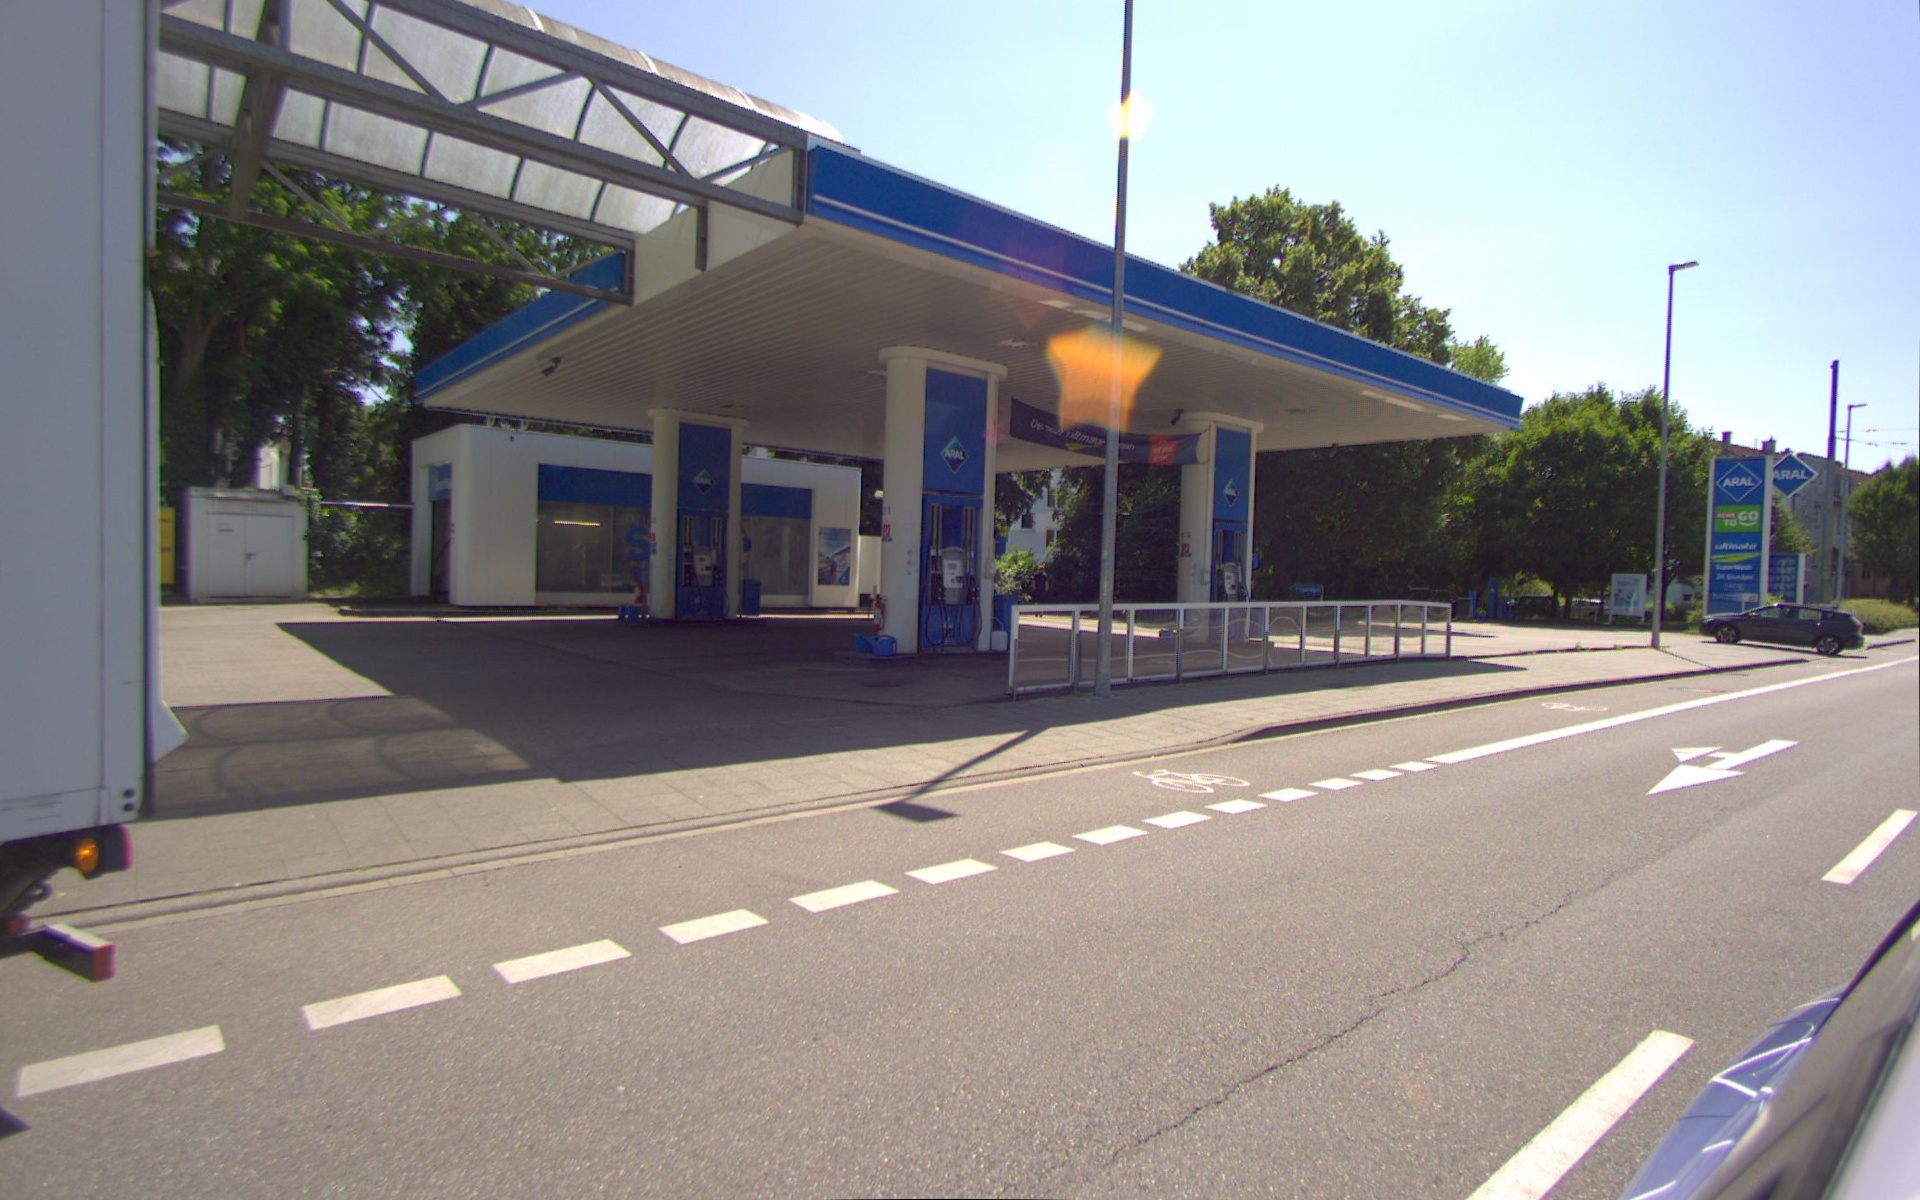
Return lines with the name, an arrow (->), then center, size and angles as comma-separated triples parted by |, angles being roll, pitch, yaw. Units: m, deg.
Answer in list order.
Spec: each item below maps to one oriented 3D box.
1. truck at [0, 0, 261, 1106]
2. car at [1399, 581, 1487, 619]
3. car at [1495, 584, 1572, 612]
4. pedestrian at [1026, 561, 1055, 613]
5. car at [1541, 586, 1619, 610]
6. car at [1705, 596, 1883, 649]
truck -> -5.100, -0.409, 0.342 | 2.407, 3.433, 7.753 | 2, 1, 29
car -> 23.536, -0.039, 49.282 | 4.328, 1.683, 2.000 | -1, 2, -36
car -> 37.762, -0.162, 66.735 | 1.959, 1.708, 4.008 | 1, 1, -25
pedestrian -> 2.982, -0.485, 37.586 | 0.822, 1.912, 0.626 | 2, 1, -41
car -> 43.606, -0.150, 71.306 | 1.961, 1.539, 4.230 | 1, 2, -32
car -> 26.372, 0.663, 32.107 | 1.689, 1.439, 4.136 | 0, 2, -41
